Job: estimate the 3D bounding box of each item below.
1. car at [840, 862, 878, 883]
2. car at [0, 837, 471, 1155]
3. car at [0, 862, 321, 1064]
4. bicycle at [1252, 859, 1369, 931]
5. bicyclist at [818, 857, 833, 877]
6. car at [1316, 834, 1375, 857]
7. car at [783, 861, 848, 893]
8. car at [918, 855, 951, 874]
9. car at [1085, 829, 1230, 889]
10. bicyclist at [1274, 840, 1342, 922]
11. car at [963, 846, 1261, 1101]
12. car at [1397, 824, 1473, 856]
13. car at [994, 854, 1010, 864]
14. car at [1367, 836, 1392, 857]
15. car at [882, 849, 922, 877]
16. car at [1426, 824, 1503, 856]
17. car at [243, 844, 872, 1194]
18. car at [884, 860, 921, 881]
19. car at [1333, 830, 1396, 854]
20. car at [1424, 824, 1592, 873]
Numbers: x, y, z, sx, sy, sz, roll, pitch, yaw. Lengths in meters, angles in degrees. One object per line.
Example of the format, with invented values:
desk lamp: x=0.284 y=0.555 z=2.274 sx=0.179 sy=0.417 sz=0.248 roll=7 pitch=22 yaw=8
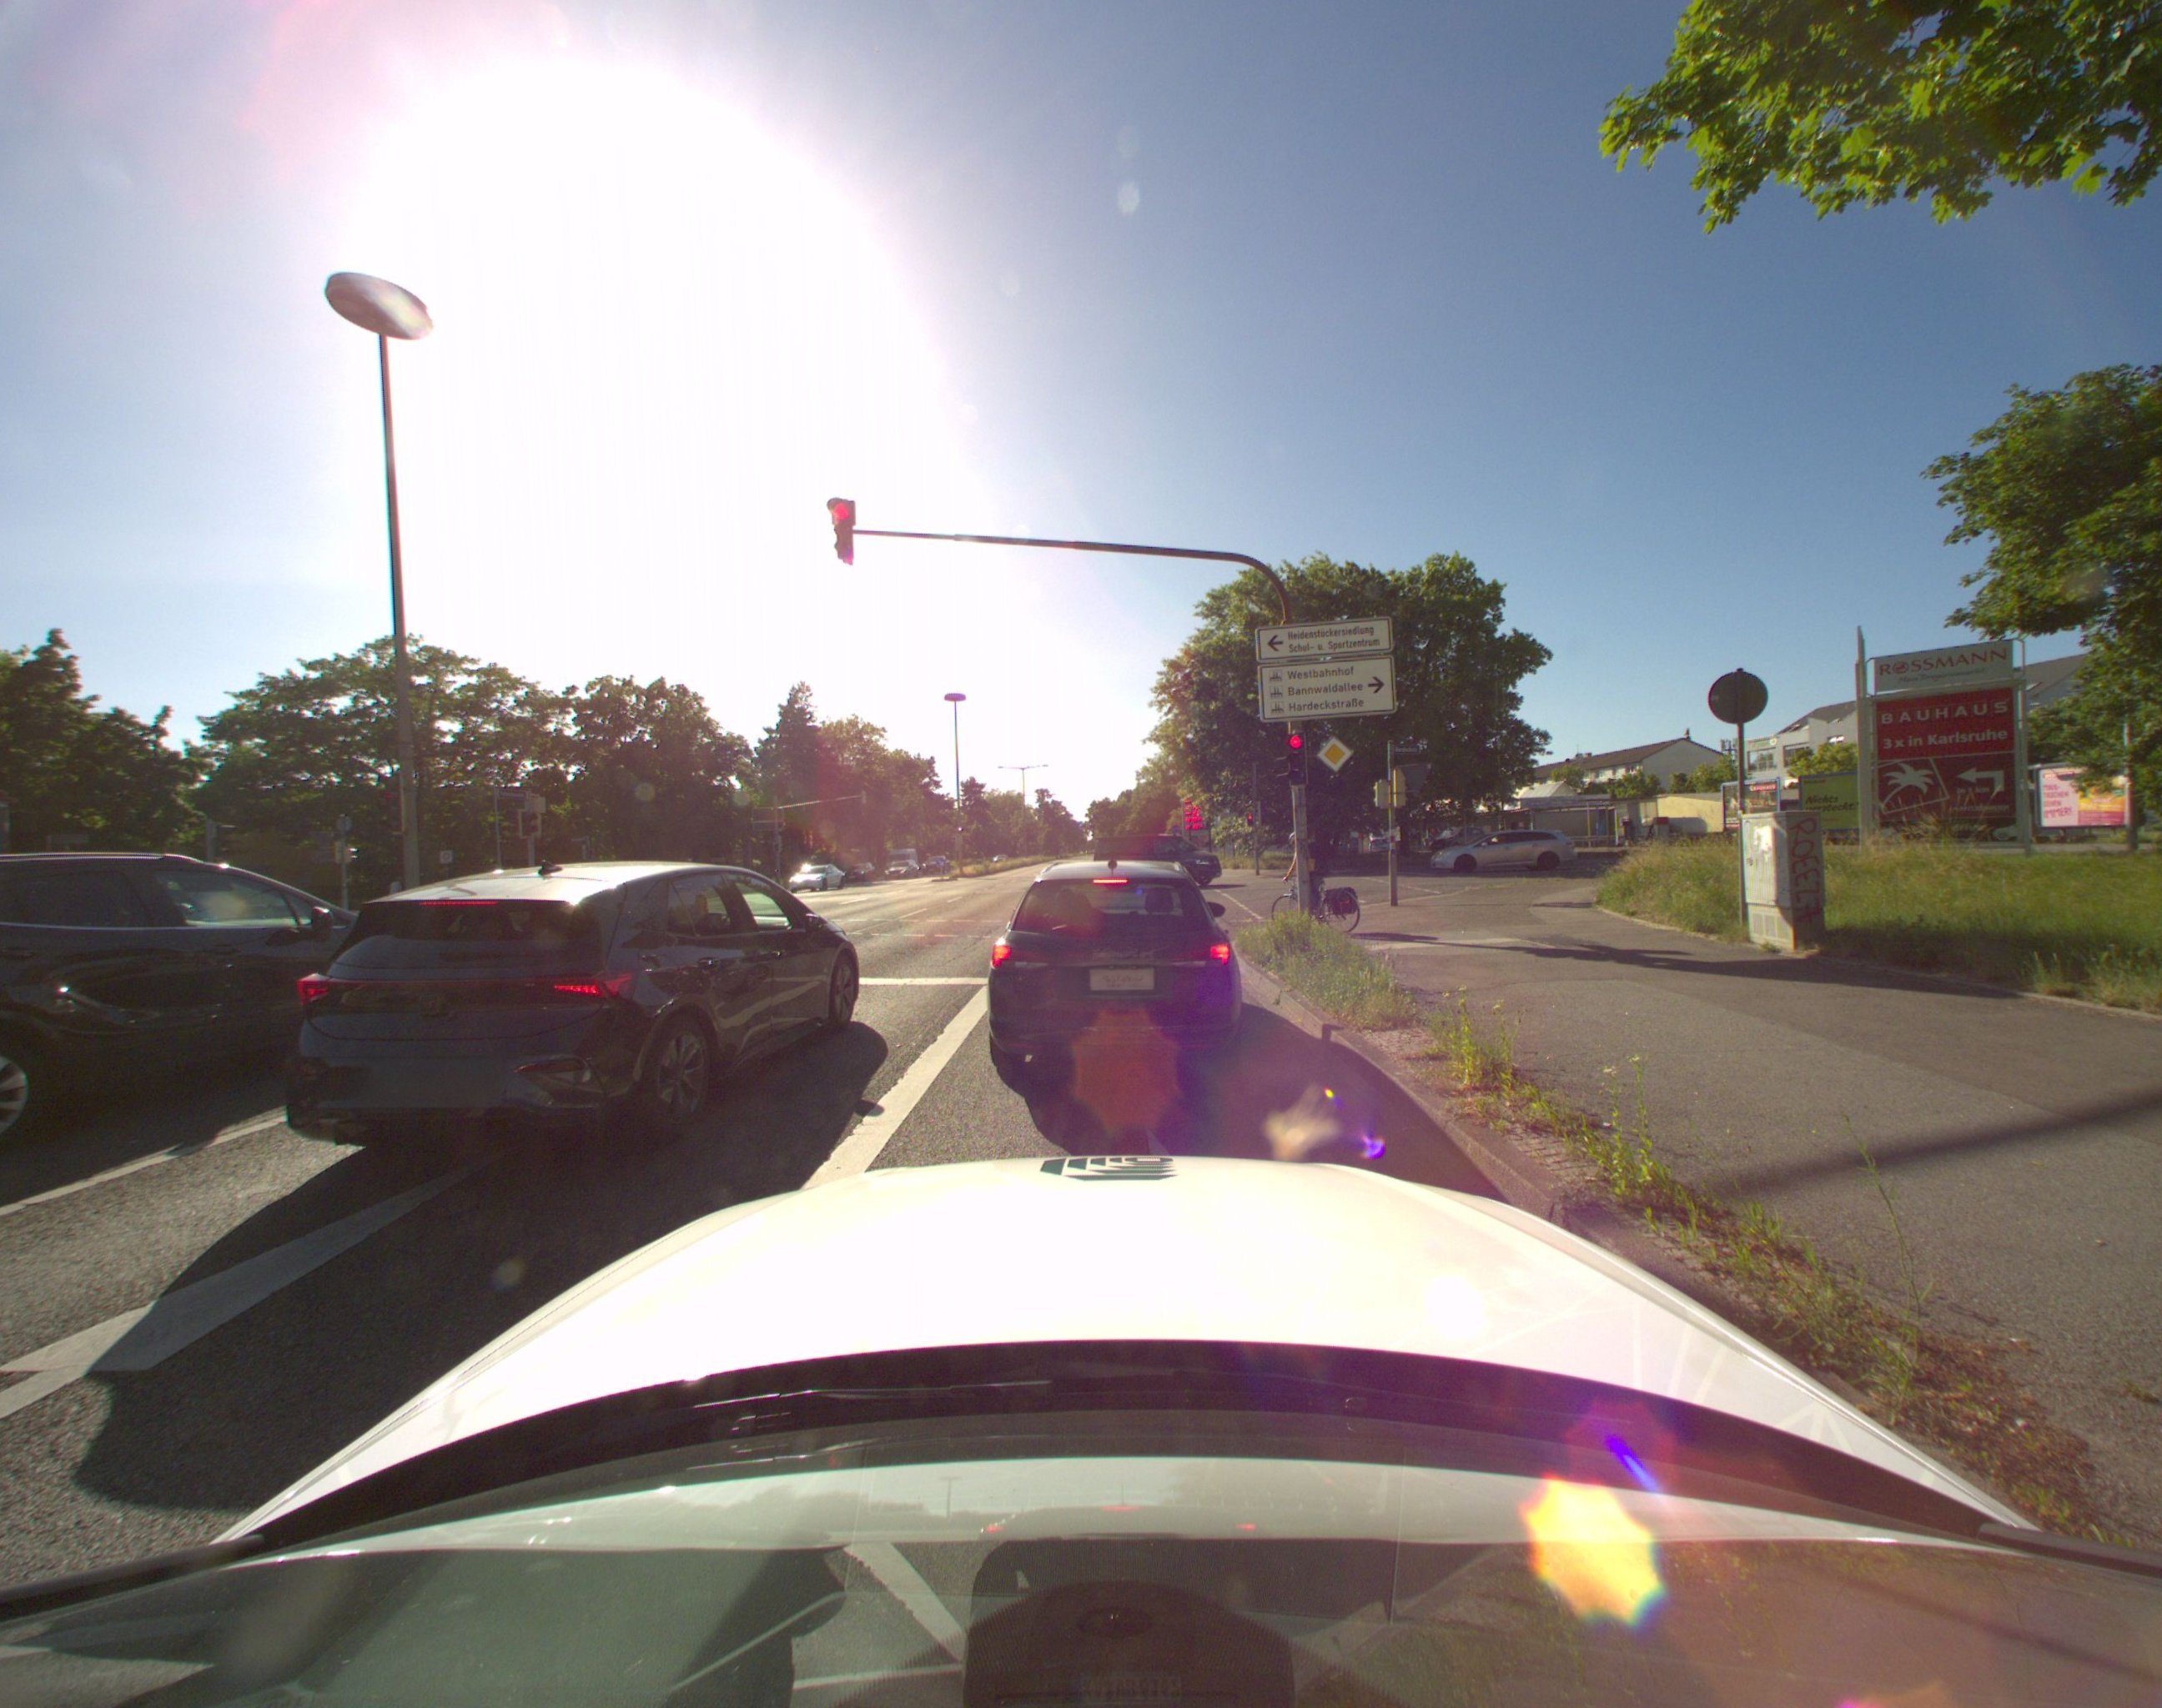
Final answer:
car: x=-17.616 y=1.462 z=64.805 sx=1.680 sy=1.509 sz=4.005 roll=-3 pitch=0 yaw=2
car: x=-6.619 y=0.789 z=5.517 sx=1.798 sy=1.689 sz=4.002 roll=-3 pitch=0 yaw=2
car: x=-10.222 y=0.989 z=7.919 sx=1.824 sy=1.702 sz=3.999 roll=-3 pitch=0 yaw=0
bicycle: x=3.732 y=0.687 z=13.371 sx=0.541 sy=1.097 sz=1.755 roll=-3 pitch=-2 yaw=-42
bicyclist: x=-22.046 y=1.144 z=70.324 sx=0.874 sy=1.648 sz=1.198 roll=-3 pitch=0 yaw=-3
car: x=19.325 y=-0.620 z=59.525 sx=3.903 sy=1.517 sz=1.733 roll=-3 pitch=0 yaw=-21
car: x=-14.491 y=1.217 z=44.762 sx=1.881 sy=1.524 sz=4.506 roll=-3 pitch=0 yaw=2
car: x=-13.646 y=0.913 z=76.005 sx=1.986 sy=1.601 sz=4.617 roll=-3 pitch=0 yaw=2
car: x=2.829 y=0.197 z=30.516 sx=4.950 sy=1.992 sz=1.930 roll=-3 pitch=0 yaw=30
bicyclist: x=3.717 y=0.446 z=13.372 sx=0.541 sy=1.277 sz=0.819 roll=-3 pitch=-2 yaw=-42
car: x=0.250 y=0.726 z=6.963 sx=1.750 sy=1.495 sz=4.208 roll=-1 pitch=0 yaw=2
car: x=21.460 y=-0.828 z=49.399 sx=4.003 sy=1.750 sz=1.985 roll=-3 pitch=0 yaw=-22
car: x=-12.167 y=0.715 z=125.742 sx=1.769 sy=1.463 sz=4.166 roll=-3 pitch=0 yaw=2
car: x=25.407 y=-0.664 z=69.367 sx=1.726 sy=1.680 sz=4.018 roll=-3 pitch=0 yaw=17
car: x=-16.850 y=0.801 z=76.930 sx=2.092 sy=2.492 sz=6.006 roll=-3 pitch=0 yaw=2
car: x=22.376 y=-0.819 z=47.526 sx=4.002 sy=1.680 sz=1.733 roll=-3 pitch=0 yaw=-21
car: x=-2.959 y=0.773 z=5.854 sx=1.678 sy=1.580 sz=4.208 roll=-1 pitch=0 yaw=2
car: x=-13.794 y=1.229 z=63.296 sx=1.680 sy=1.433 sz=4.617 roll=-3 pitch=0 yaw=2
car: x=19.660 y=-0.827 z=56.433 sx=3.903 sy=1.517 sz=1.733 roll=-3 pitch=0 yaw=-21
car: x=15.189 y=-0.178 z=29.241 sx=4.969 sy=1.486 sz=2.007 roll=-2 pitch=0 yaw=13
